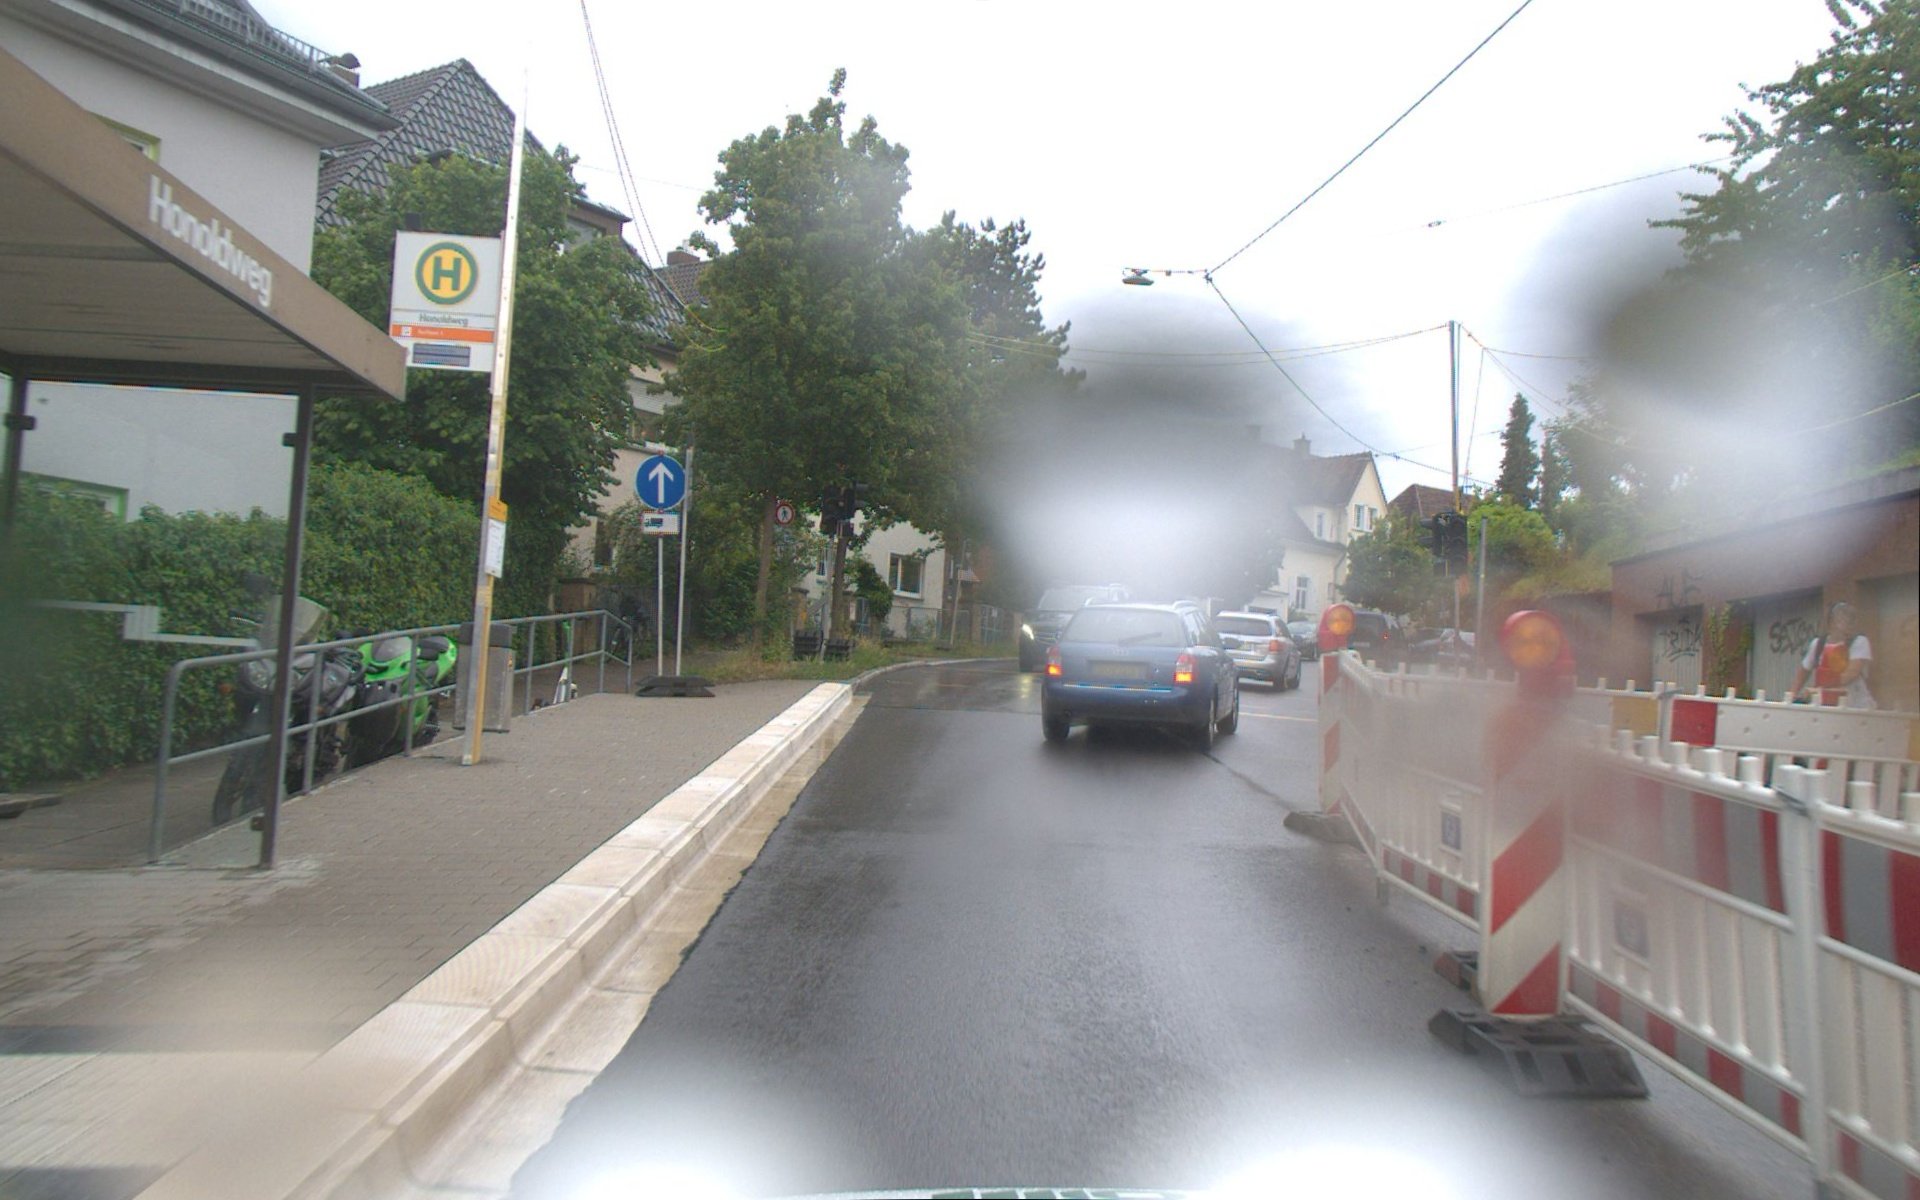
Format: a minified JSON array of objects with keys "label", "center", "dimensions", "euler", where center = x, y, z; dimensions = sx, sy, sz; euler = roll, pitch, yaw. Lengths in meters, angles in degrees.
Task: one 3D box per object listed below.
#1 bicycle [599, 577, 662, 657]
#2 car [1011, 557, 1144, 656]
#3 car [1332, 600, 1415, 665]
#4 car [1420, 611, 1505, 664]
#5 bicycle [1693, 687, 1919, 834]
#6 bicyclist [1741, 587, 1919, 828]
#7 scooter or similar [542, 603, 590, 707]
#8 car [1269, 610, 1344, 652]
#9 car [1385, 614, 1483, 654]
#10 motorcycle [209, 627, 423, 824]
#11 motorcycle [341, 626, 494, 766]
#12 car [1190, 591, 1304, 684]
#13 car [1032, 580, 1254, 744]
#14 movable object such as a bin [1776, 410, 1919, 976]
[{"label":"bicycle","center":[-5.749,0.271,28.940],"dimensions":[0.480,1.293,2.274],"euler":[4,1,2]},{"label":"car","center":[2.597,0.166,35.278],"dimensions":[1.856,1.922,5.156],"euler":[1,-1,15]},{"label":"car","center":[12.579,0.935,50.188],"dimensions":[1.699,1.799,4.233],"euler":[0,1,25]},{"label":"car","center":[18.288,1.352,60.101],"dimensions":[1.704,1.799,4.220],"euler":[2,1,35]},{"label":"bicycle","center":[6.785,1.233,12.762],"dimensions":[1.844,0.998,0.931],"euler":[3,-1,-10]},{"label":"bicyclist","center":[6.837,0.809,12.777],"dimensions":[1.054,1.759,0.931],"euler":[3,-1,-10]},{"label":"scooter or similar","center":[-4.337,0.587,18.241],"dimensions":[0.317,1.099,1.095],"euler":[0,0,-3]},{"label":"car","center":[13.200,1.192,62.891],"dimensions":[1.639,1.492,3.886],"euler":[1,-1,30]},{"label":"car","center":[20.616,1.471,71.866],"dimensions":[4.864,1.572,1.844],"euler":[3,-1,-43]},{"label":"motorcycle","center":[-4.033,0.739,10.543],"dimensions":[0.653,1.054,2.150],"euler":[1,1,-4]},{"label":"motorcycle","center":[-4.208,0.711,12.974],"dimensions":[0.653,0.950,2.008],"euler":[1,1,-4]},{"label":"car","center":[5.839,0.689,33.261],"dimensions":[1.933,1.663,4.239],"euler":[0,1,14]},{"label":"car","center":[2.046,0.552,17.499],"dimensions":[1.697,1.492,4.003],"euler":[0,1,16]},{"label":"movable object such as a bin","center":[5.950,0.520,6.994],"dimensions":[2.044,2.887,5.676],"euler":[2,1,-1]}]
